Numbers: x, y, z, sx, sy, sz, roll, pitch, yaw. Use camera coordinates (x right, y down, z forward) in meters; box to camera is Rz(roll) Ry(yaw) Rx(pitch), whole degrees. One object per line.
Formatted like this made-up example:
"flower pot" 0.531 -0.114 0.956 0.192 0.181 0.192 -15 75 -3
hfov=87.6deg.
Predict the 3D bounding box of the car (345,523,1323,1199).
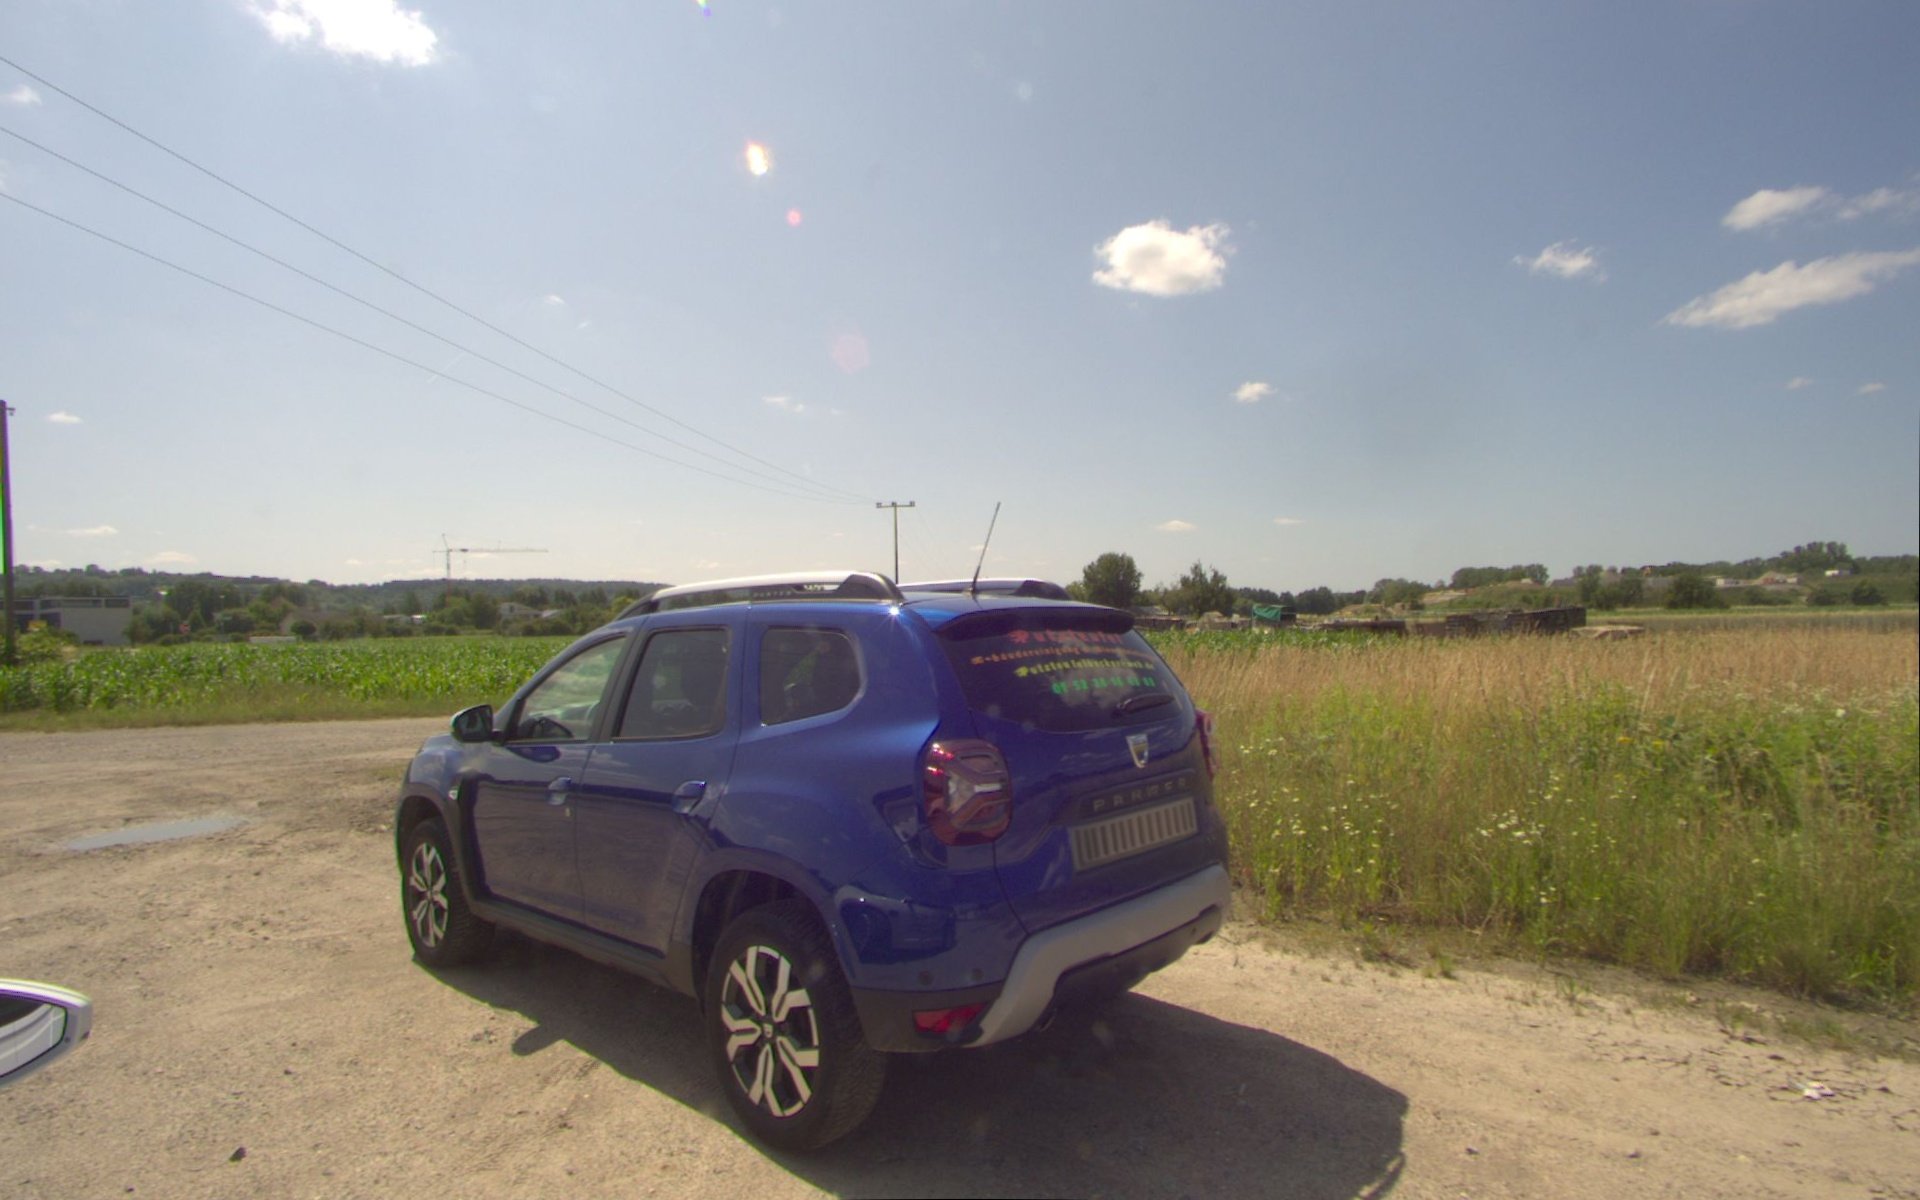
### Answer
"car" -0.952 0.776 4.393 4.411 1.682 1.849 -3 -3 42
